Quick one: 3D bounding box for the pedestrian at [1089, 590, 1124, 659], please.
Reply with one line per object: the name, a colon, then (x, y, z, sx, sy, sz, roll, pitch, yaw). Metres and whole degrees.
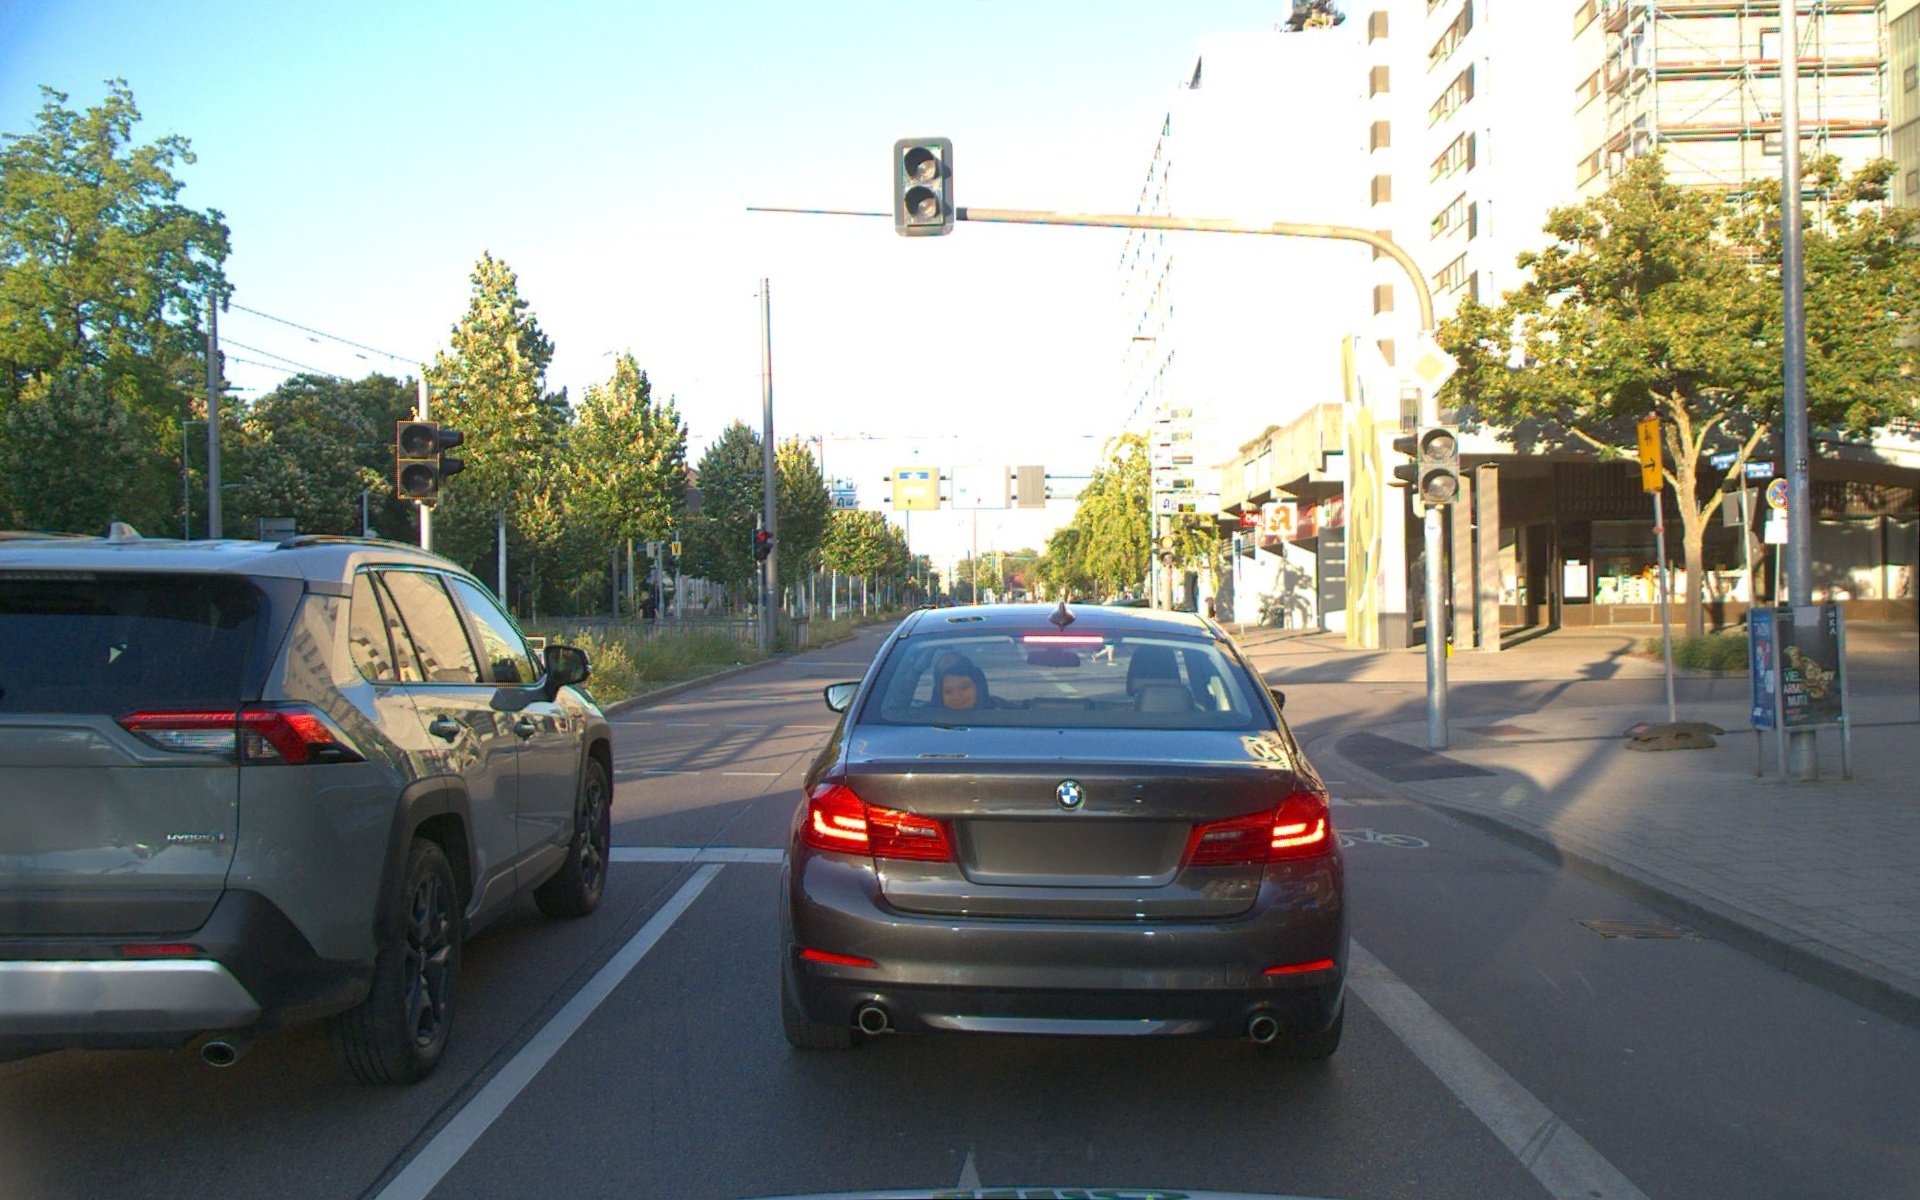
pedestrian: (3.760, 0.625, 42.457, 0.818, 1.742, 0.647, -1, 0, -2)

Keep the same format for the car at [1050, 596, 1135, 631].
car: (6.850, 0.664, 85.242, 4.219, 1.687, 1.838, 0, 1, -36)

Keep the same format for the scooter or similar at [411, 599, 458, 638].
scooter or similar: (-16.428, 0.573, 51.695, 1.301, 1.173, 0.514, -1, 0, 7)

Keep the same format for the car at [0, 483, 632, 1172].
car: (-2.492, 0.513, 6.167, 1.817, 1.687, 4.267, 0, 1, -2)

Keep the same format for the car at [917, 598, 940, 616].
car: (-2.748, 0.631, 146.890, 1.938, 1.458, 4.843, 0, 1, 0)

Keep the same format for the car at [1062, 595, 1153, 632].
car: (7.066, 0.634, 79.183, 4.221, 1.687, 1.837, 0, 1, -36)

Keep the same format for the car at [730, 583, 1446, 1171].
car: (0.366, 0.715, 6.659, 1.892, 1.507, 4.523, 0, 1, 1)

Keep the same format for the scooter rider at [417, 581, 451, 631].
scooter rider: (-16.441, 0.192, 51.728, 0.803, 1.540, 0.653, -1, 0, 7)

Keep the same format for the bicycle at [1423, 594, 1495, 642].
bicycle: (12.504, 0.447, 41.518, 0.678, 1.169, 2.012, 2, -1, -18)

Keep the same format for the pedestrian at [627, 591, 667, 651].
pedestrian: (-8.542, 0.572, 45.209, 0.817, 1.614, 0.813, -1, 0, 10)

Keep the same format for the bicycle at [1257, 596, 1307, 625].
bicycle: (13.466, 0.438, 69.159, 1.974, 1.169, 0.691, 2, -1, 6)

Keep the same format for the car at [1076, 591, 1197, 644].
car: (6.073, 0.565, 56.672, 4.234, 1.687, 1.831, -1, 1, -43)
